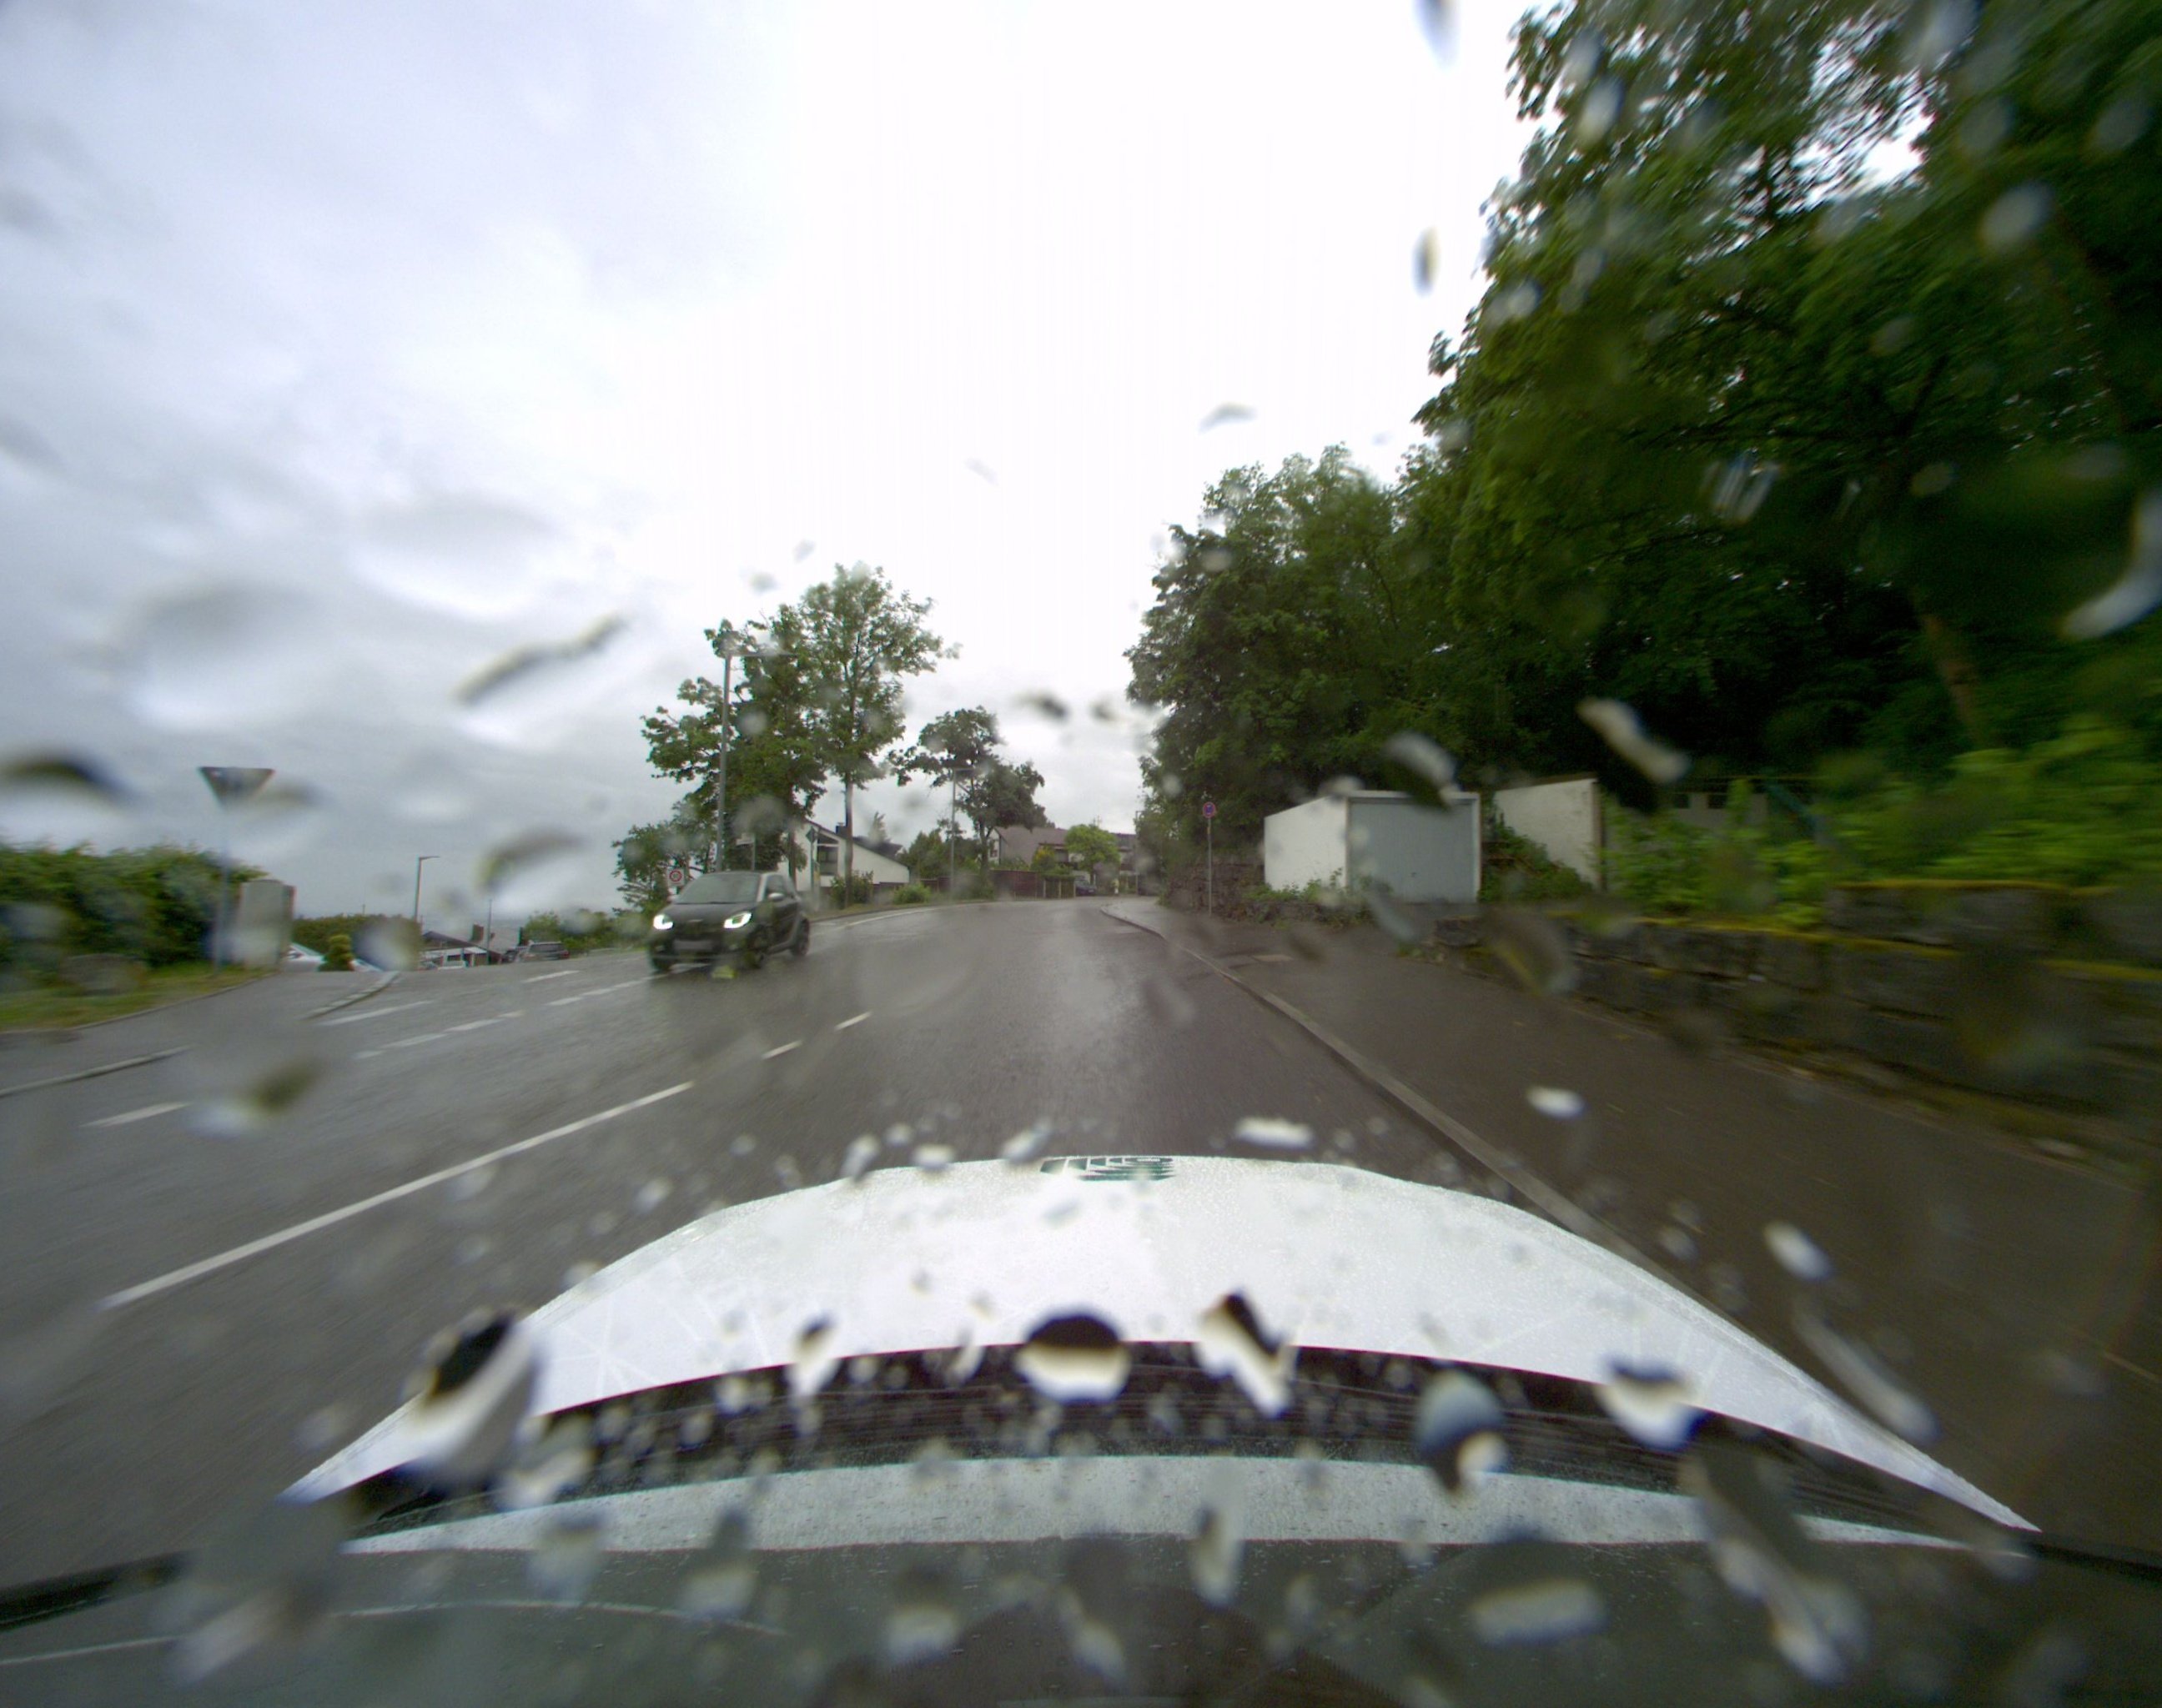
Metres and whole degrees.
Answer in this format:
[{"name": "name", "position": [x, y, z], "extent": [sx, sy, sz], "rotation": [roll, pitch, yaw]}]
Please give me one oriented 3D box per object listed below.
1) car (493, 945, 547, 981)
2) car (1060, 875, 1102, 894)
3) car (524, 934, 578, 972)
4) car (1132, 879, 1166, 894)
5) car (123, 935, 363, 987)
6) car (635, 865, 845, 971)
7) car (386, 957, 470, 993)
[{"name": "car", "position": [-36.303, 7.021, 52.796], "extent": [2.002, 2.014, 3.969], "rotation": [-3, -5, -22]}, {"name": "car", "position": [0.014, 2.867, 76.458], "extent": [2.022, 1.632, 3.957], "rotation": [3, -2, -35]}, {"name": "car", "position": [-23.726, 4.458, 36.423], "extent": [1.892, 1.417, 3.956], "rotation": [-2, -6, -34]}, {"name": "car", "position": [6.980, 3.377, 83.837], "extent": [1.941, 1.389, 3.971], "rotation": [3, -2, -21]}, {"name": "car", "position": [-22.317, 2.921, 21.966], "extent": [4.268, 1.254, 1.765], "rotation": [7, -12, -42]}, {"name": "car", "position": [-5.751, 1.009, 14.453], "extent": [1.827, 1.520, 4.623], "rotation": [-2, -1, -1]}, {"name": "car", "position": [-45.230, 8.360, 56.465], "extent": [3.990, 1.638, 1.796], "rotation": [-7, 0, -11]}]
